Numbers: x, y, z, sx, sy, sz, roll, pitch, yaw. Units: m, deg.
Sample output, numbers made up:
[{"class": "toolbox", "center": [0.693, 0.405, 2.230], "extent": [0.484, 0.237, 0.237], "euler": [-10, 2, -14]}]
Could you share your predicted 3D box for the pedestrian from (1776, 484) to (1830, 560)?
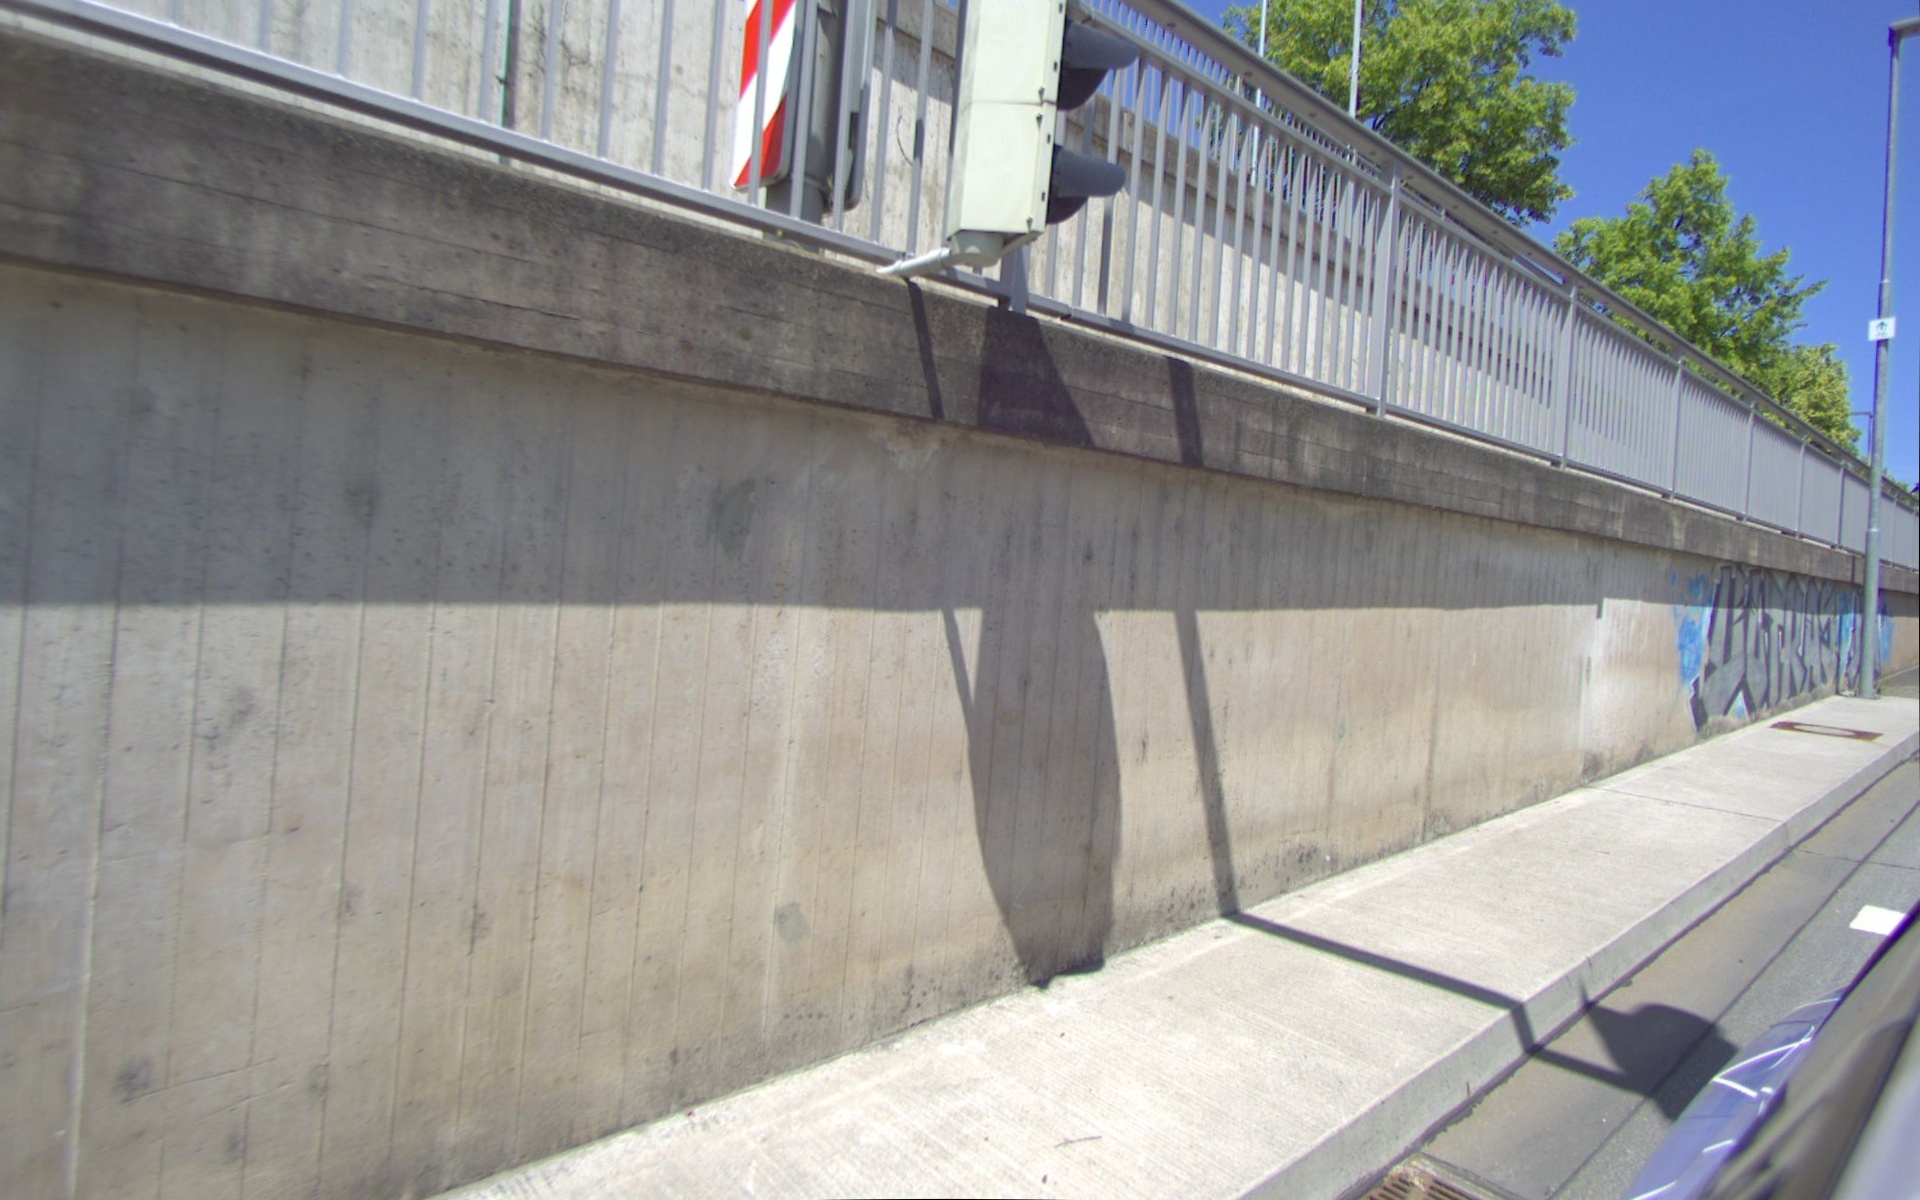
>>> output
[{"class": "pedestrian", "center": [20.790, -1.901, 24.962], "extent": [0.774, 1.804, 0.838], "euler": [1, 1, -40]}]
